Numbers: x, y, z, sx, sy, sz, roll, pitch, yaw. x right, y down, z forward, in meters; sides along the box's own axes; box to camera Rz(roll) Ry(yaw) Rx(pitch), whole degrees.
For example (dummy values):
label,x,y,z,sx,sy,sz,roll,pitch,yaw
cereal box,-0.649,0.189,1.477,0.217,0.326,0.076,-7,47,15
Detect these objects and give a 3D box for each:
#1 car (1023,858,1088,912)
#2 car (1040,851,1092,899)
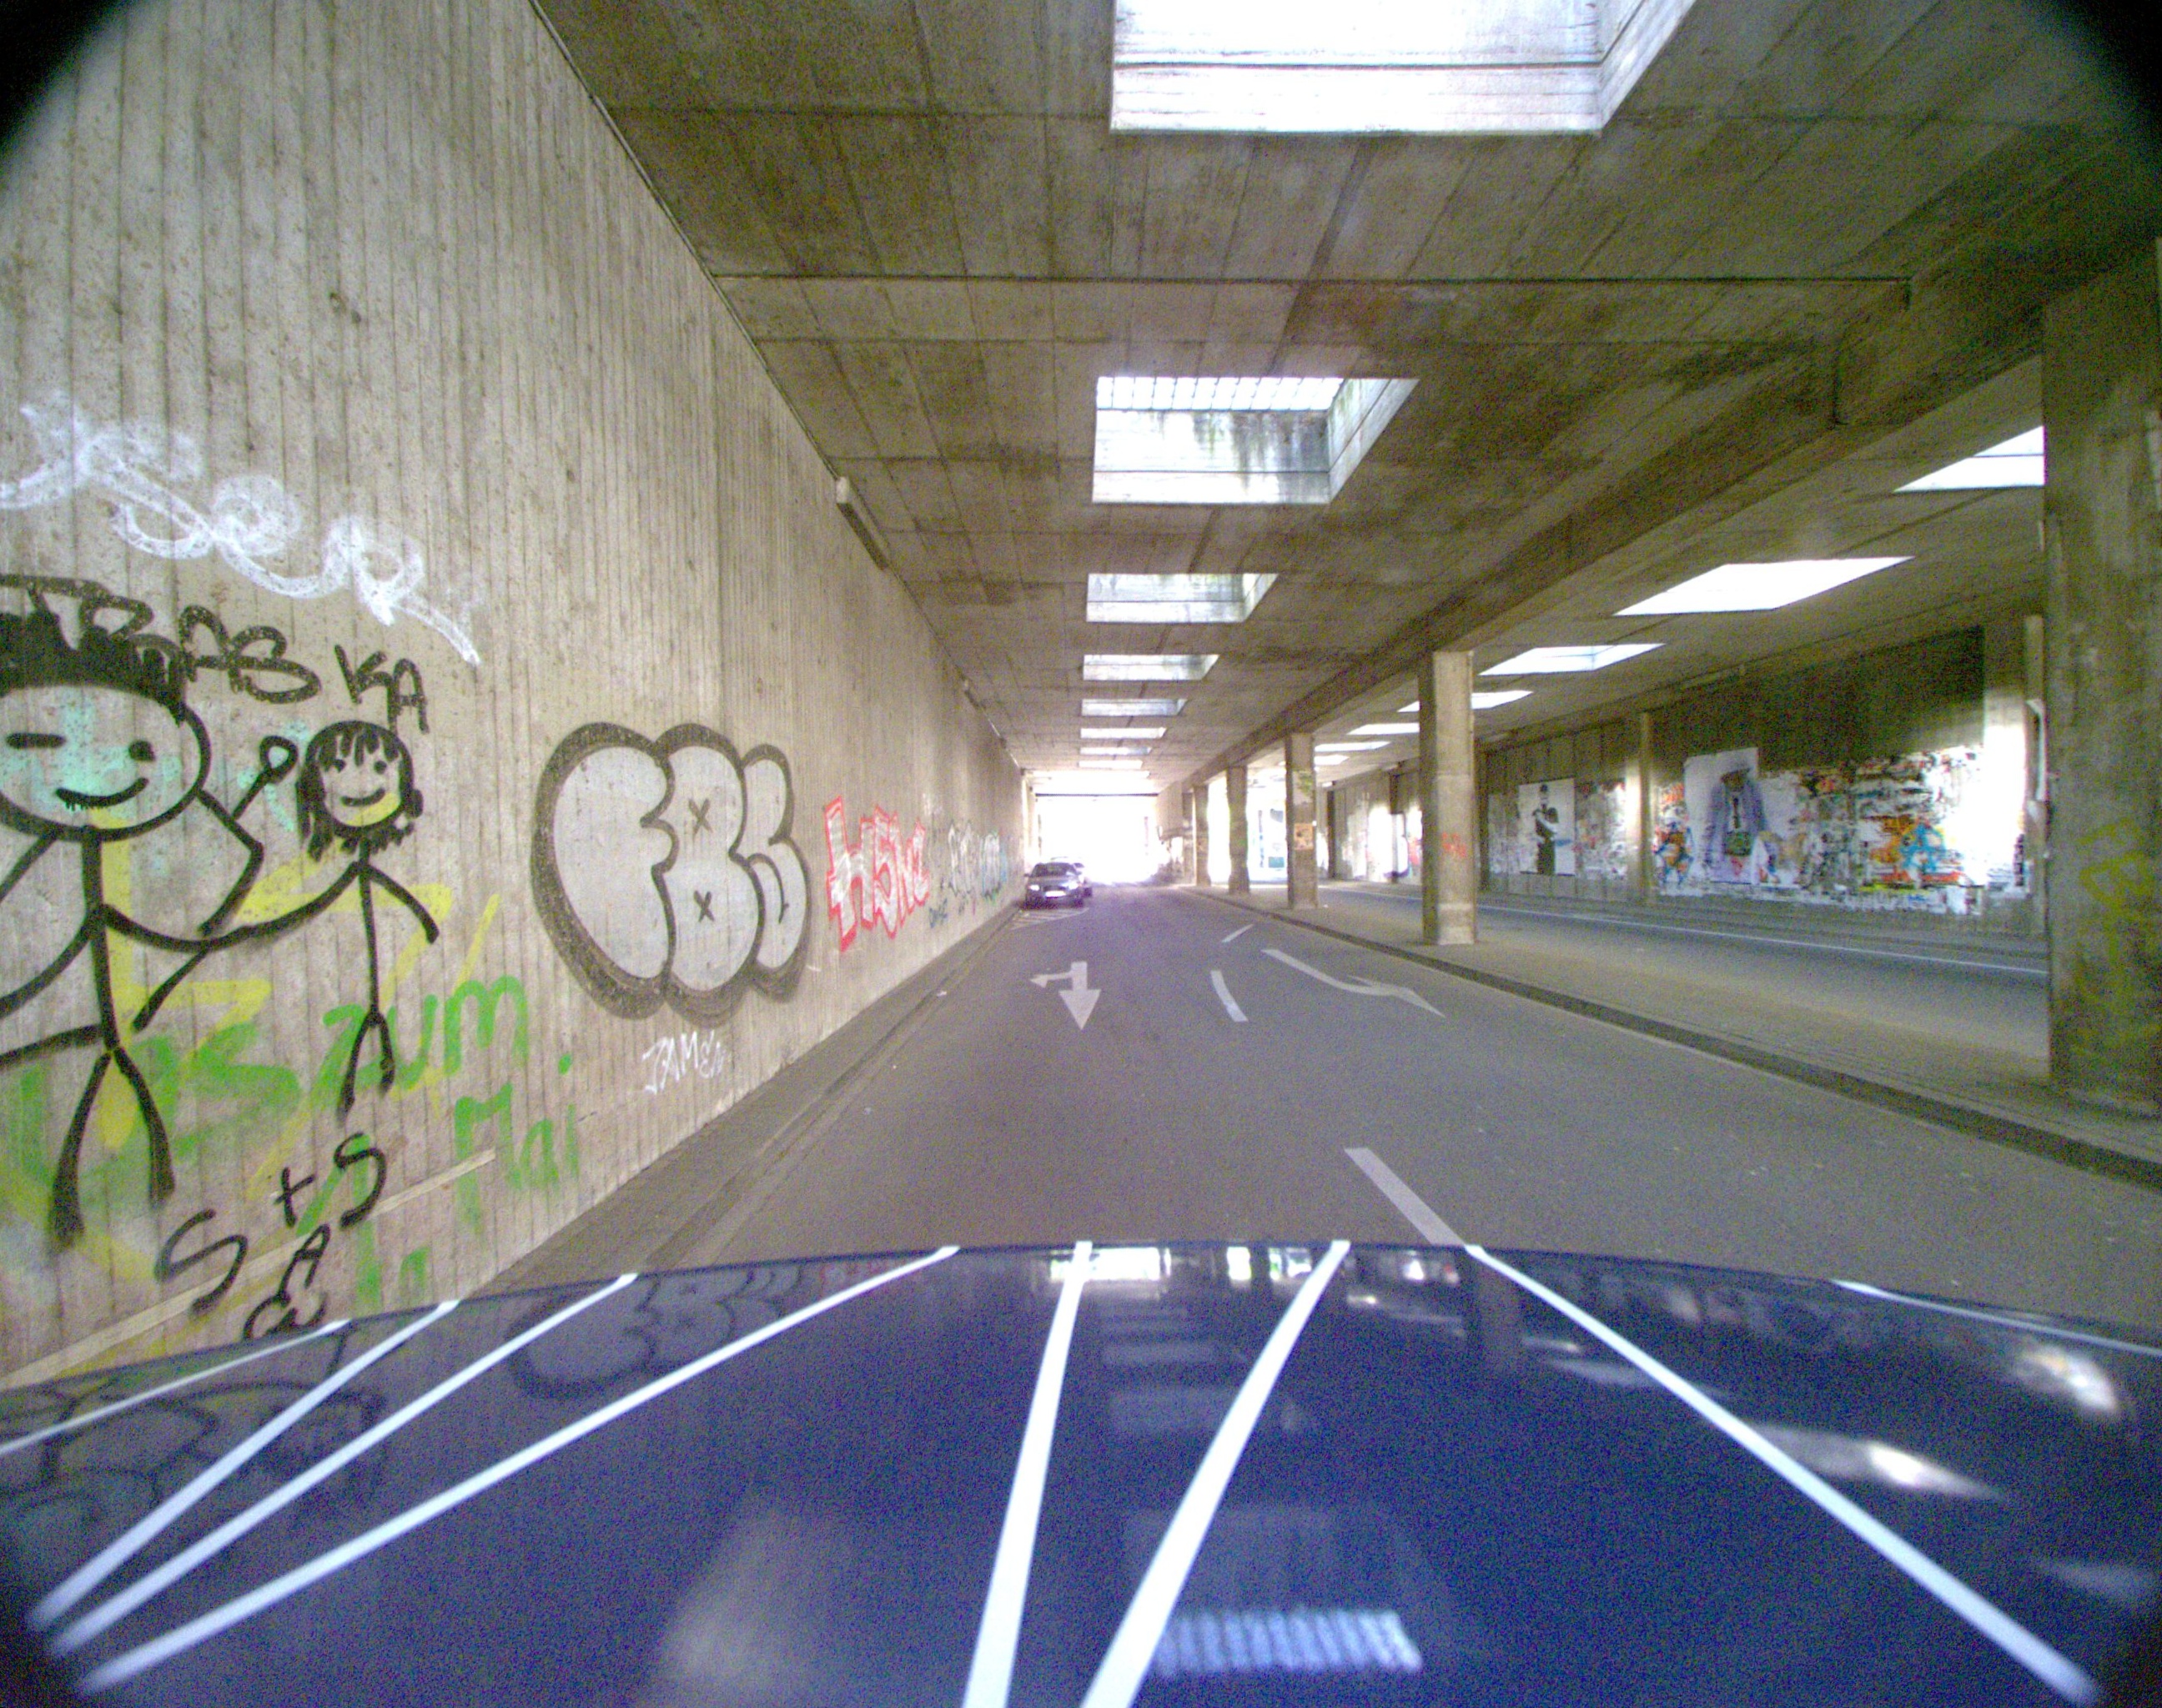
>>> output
label,x,y,z,sx,sy,sz,roll,pitch,yaw
car,-0.718,0.906,24.075,1.808,1.460,4.000,-2,0,1
car,-0.514,0.758,29.727,1.861,1.709,4.000,-2,0,1
